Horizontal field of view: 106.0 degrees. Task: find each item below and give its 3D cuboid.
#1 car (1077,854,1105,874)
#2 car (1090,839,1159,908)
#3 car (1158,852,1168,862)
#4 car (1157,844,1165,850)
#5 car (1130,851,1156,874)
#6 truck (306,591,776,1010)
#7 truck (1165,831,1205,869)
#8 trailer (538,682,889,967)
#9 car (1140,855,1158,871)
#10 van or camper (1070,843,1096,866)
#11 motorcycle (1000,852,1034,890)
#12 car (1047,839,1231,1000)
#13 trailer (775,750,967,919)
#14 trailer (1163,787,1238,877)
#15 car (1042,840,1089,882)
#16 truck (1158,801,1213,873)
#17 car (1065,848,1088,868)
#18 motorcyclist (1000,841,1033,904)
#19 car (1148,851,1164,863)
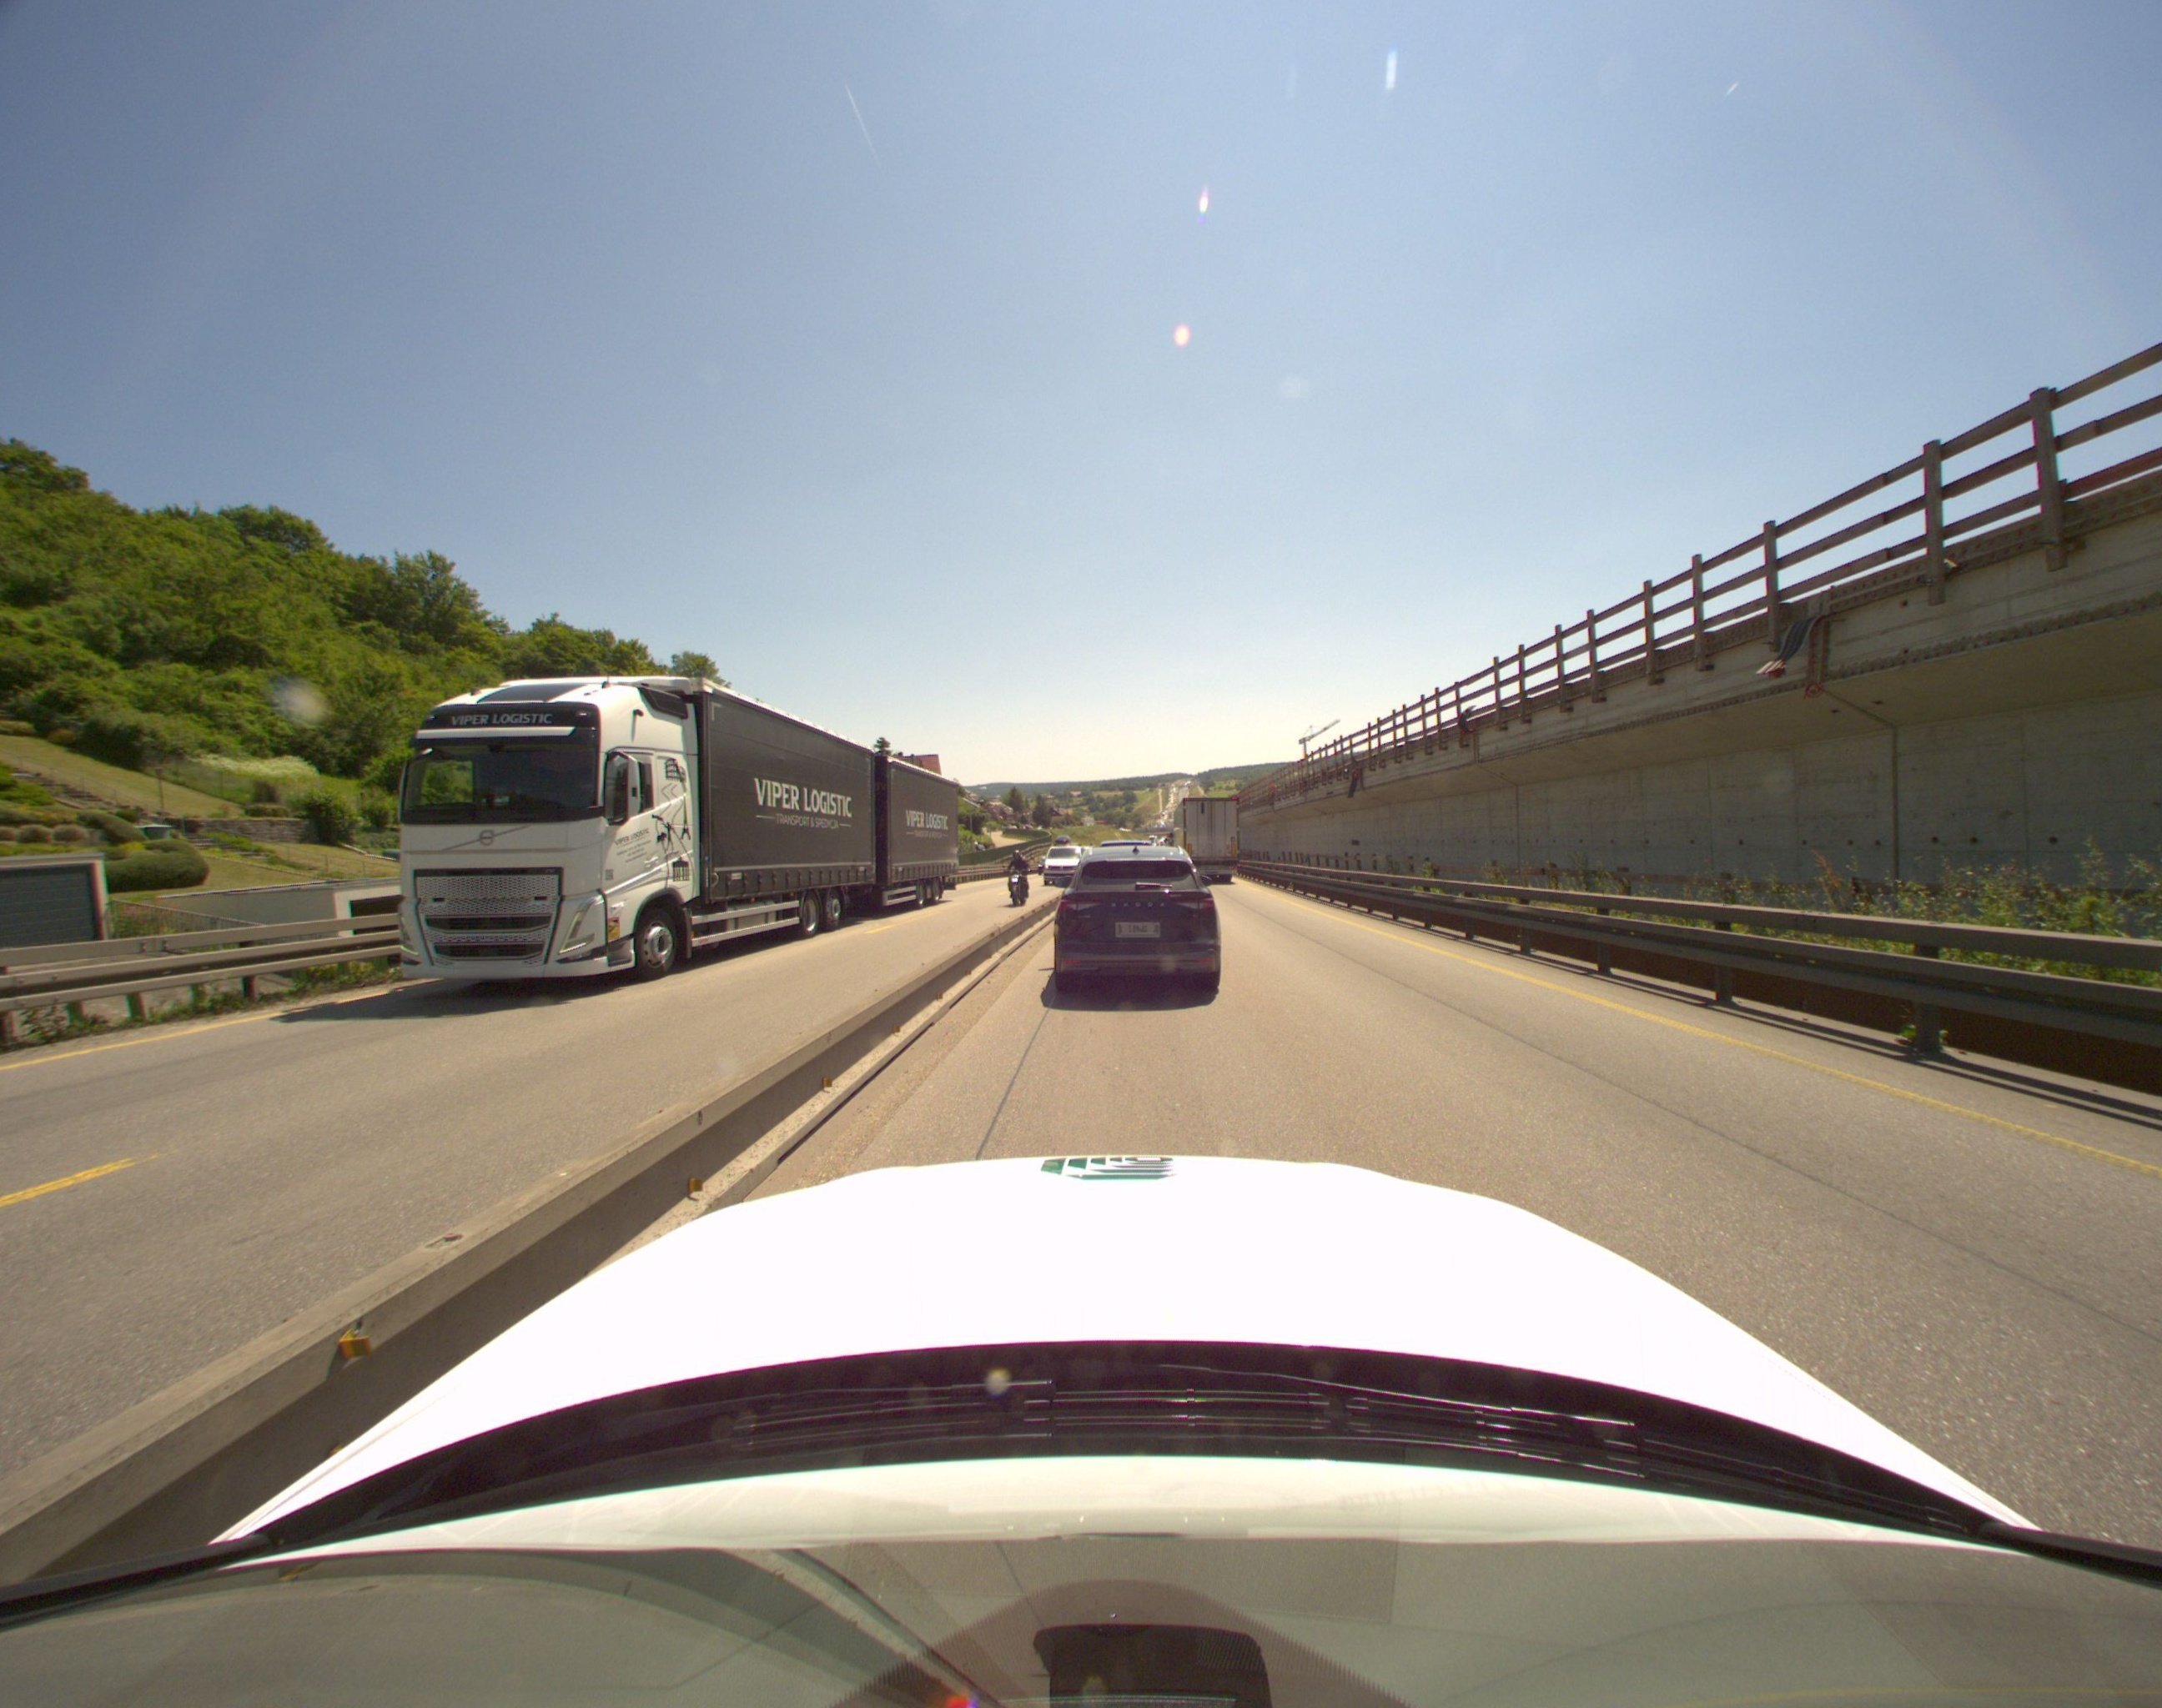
[{"bbox_3d":[0.800,0.772,63.479,1.986,1.504,4.651,-1,-1,2],"label":"car"},{"bbox_3d":[1.227,0.506,24.399,1.702,1.881,3.997,0,1,-2],"label":"car"},{"bbox_3d":[15.385,0.595,152.903,1.692,1.728,3.842,-1,-1,6],"label":"car"},{"bbox_3d":[22.087,-1.915,225.007,1.836,1.585,3.840,-1,-1,4],"label":"car"},{"bbox_3d":[4.530,0.577,59.729,1.700,1.622,4.001,0,1,1],"label":"car"},{"bbox_3d":[-6.502,-0.544,10.860,2.740,4.283,4.961,-1,0,3],"label":"truck"},{"bbox_3d":[9.451,-0.259,75.234,3.180,3.191,12.825,-1,-1,5],"label":"truck"},{"bbox_3d":[-6.241,-0.472,15.716,2.746,4.070,8.014,-1,1,3],"label":"trailer"},{"bbox_3d":[7.372,0.957,88.467,1.700,1.622,4.001,0,1,1],"label":"car"},{"bbox_3d":[0.260,0.094,92.061,2.343,2.516,6.335,-1,-1,5],"label":"van or camper"},{"bbox_3d":[-1.896,0.480,24.492,0.783,1.080,1.913,-1,0,2],"label":"motorcycle"},{"bbox_3d":[0.513,0.680,10.084,1.838,1.586,3.904,0,-1,-2],"label":"car"},{"bbox_3d":[-5.710,-0.533,24.055,2.744,4.070,8.646,-1,1,5],"label":"trailer"},{"bbox_3d":[6.056,-0.914,43.068,2.522,4.127,11.551,-1,-1,2],"label":"trailer"},{"bbox_3d":[-0.707,0.388,40.954,2.014,1.960,4.901,-1,-1,2],"label":"car"},{"bbox_3d":[6.287,-0.874,50.050,2.504,4.025,8.240,-1,-1,2],"label":"truck"},{"bbox_3d":[-0.446,0.439,82.798,1.985,2.014,4.003,-1,-1,3],"label":"car"},{"bbox_3d":[-1.925,0.538,24.307,0.850,1.855,0.984,-1,0,2],"label":"motorcyclist"},{"bbox_3d":[10.385,0.465,112.561,1.986,1.585,3.838,-1,-1,2],"label":"car"}]
